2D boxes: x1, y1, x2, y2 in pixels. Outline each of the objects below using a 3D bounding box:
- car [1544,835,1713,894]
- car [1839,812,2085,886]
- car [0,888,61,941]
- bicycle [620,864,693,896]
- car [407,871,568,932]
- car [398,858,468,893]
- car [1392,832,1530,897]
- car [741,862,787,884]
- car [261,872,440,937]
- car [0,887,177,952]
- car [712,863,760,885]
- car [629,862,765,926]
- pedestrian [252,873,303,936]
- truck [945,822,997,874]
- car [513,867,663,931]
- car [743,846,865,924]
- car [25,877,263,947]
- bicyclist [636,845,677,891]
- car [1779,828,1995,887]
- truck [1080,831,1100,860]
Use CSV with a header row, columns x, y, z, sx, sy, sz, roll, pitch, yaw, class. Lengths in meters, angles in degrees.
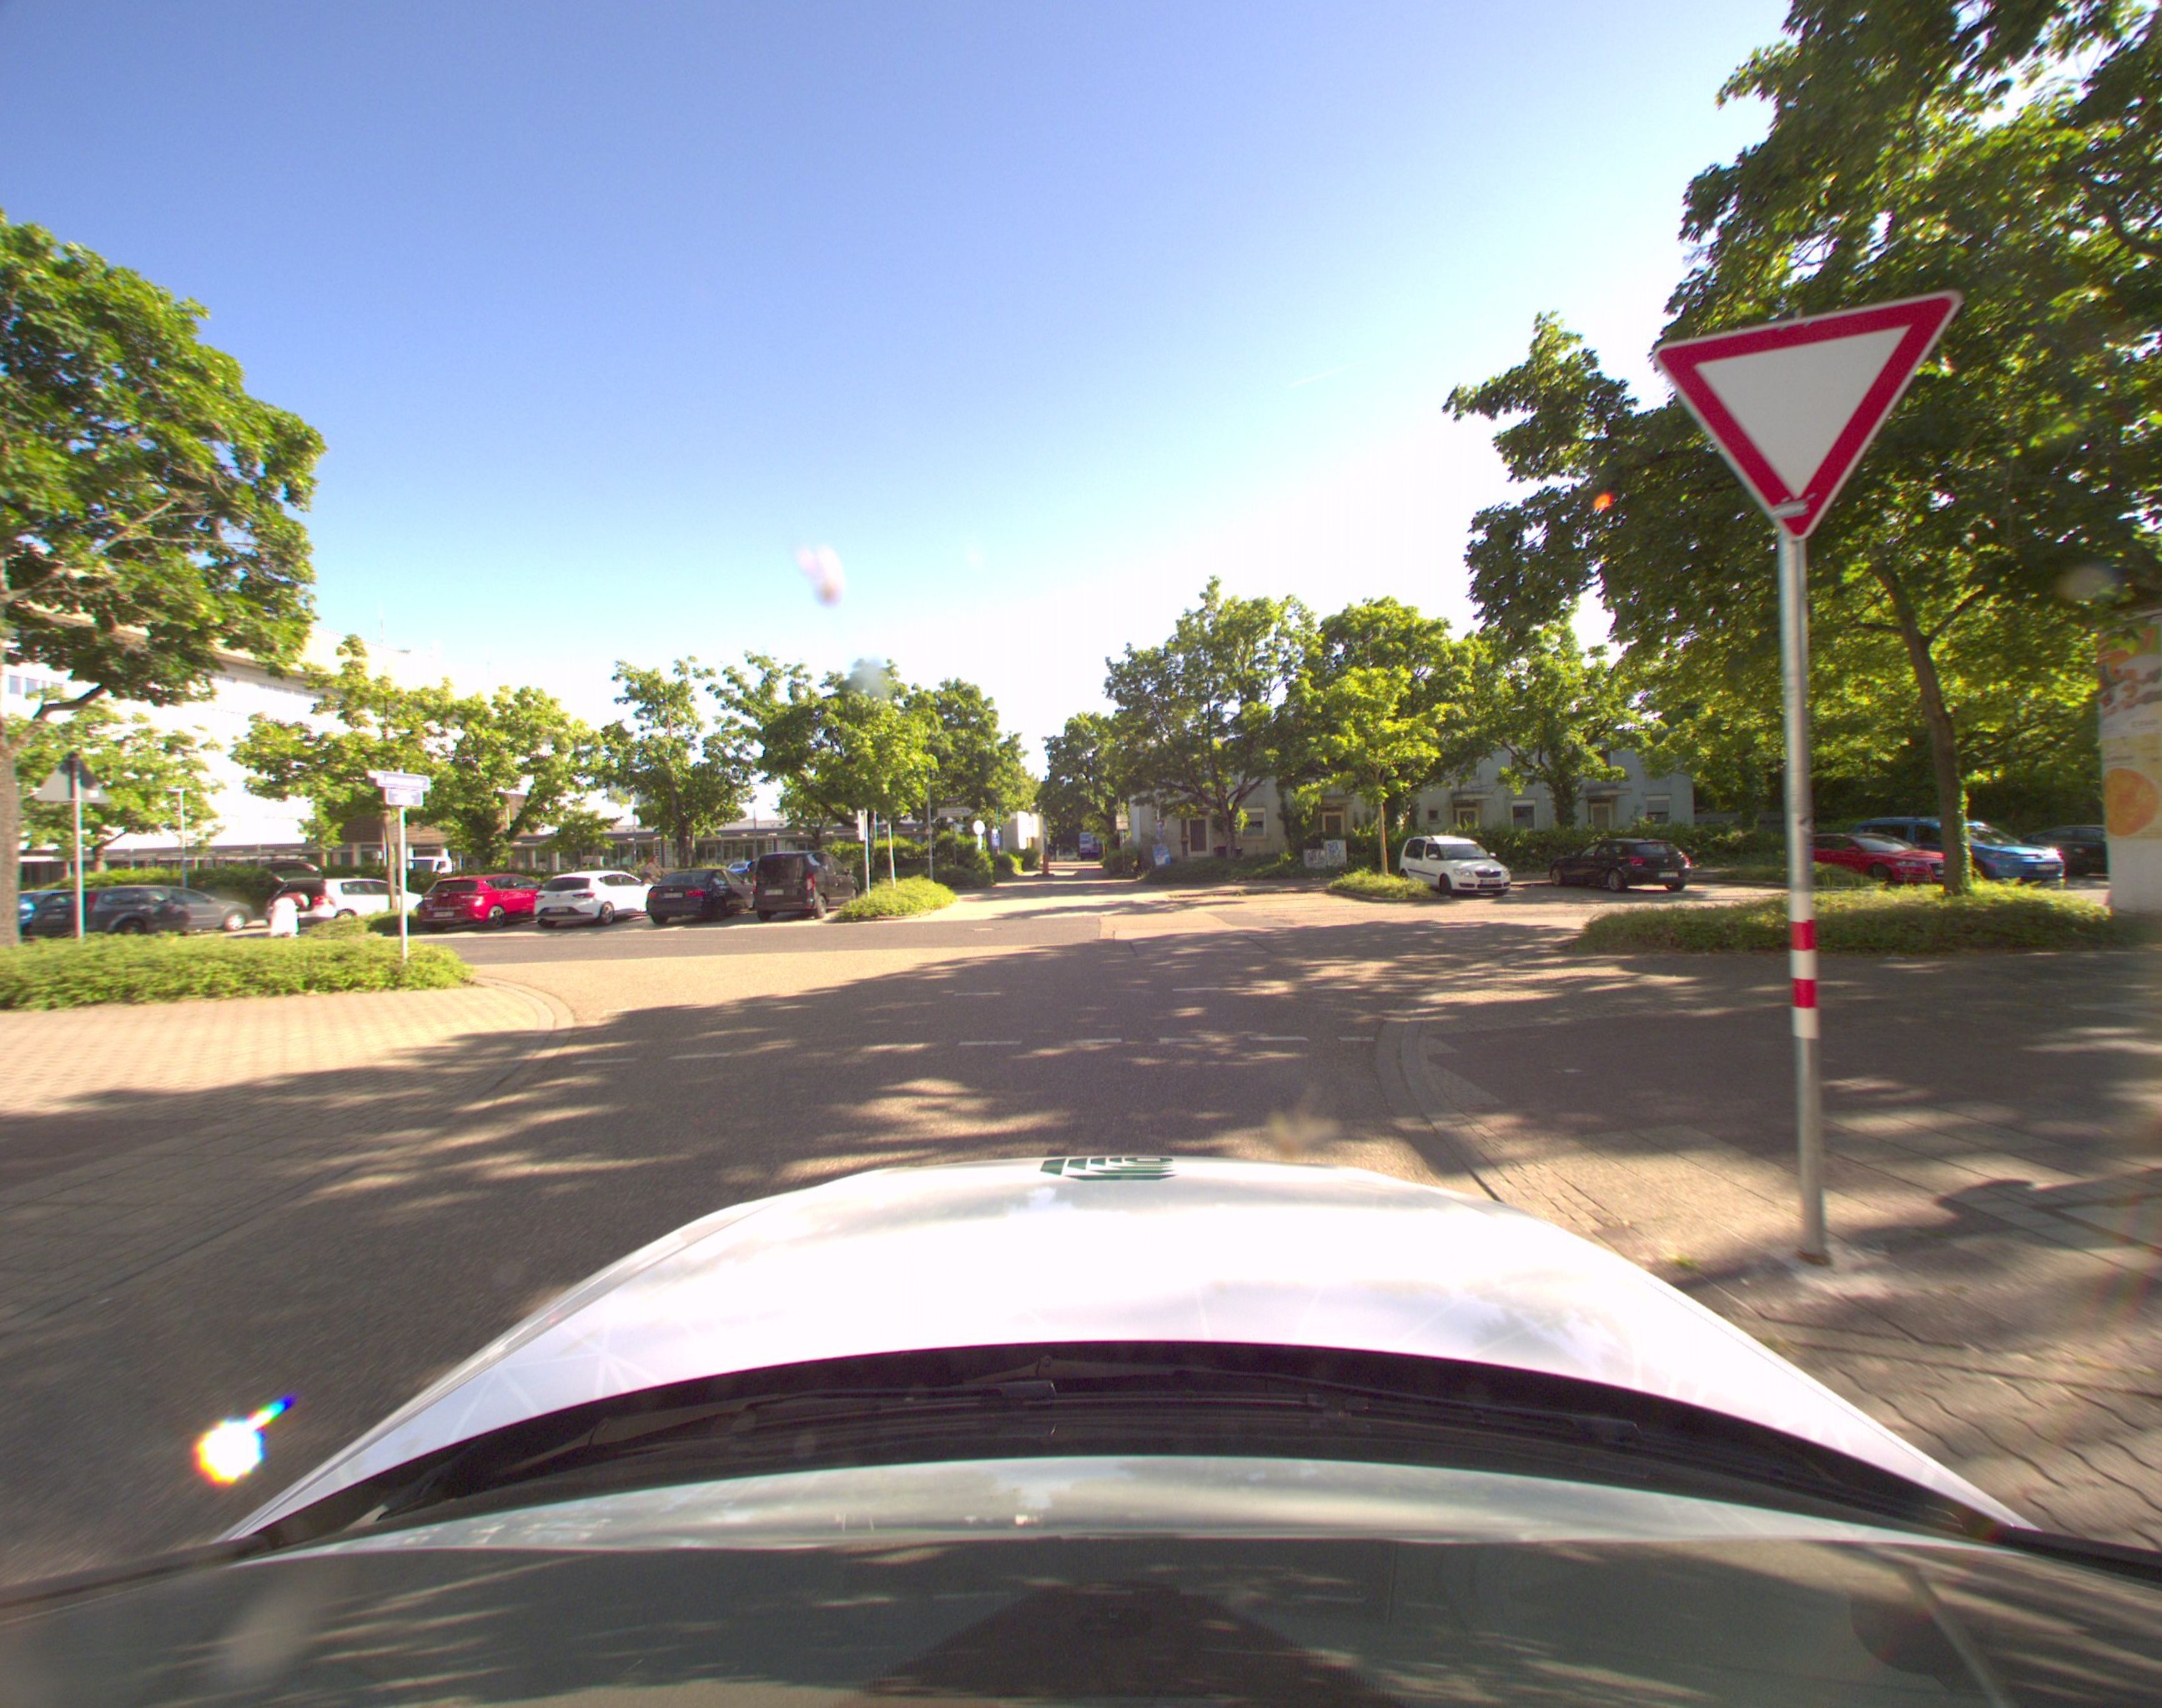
x,y,z,sx,sy,sz,roll,pitch,yaw,class
15.022,0.206,22.657,1.818,1.406,4.167,-2,1,-1,car
24.318,-0.187,22.800,1.818,1.772,4.663,-2,1,-1,car
-32.624,1.855,23.299,1.829,1.497,3.910,-2,1,2,car
-14.184,0.867,27.239,2.076,0.995,0.596,-1,0,-1,bicycle
-16.457,1.248,22.836,1.662,1.426,3.910,-1,0,-1,car
-48.896,1.581,61.535,2.216,2.490,3.648,-2,1,3,car
10.474,0.222,22.802,1.818,1.597,4.167,-2,1,-1,car
-24.238,1.446,62.403,1.829,1.497,3.911,-2,1,3,car
-20.961,1.396,23.601,1.669,1.578,3.910,-1,0,-1,car
-28.295,1.764,22.801,1.611,1.468,3.910,-1,0,-1,car
-26.352,1.480,62.302,1.829,1.497,3.911,-2,1,3,car
-10.610,1.045,22.869,1.818,1.406,4.167,-2,1,-1,car
-20.954,1.306,21.247,0.665,1.579,0.771,-1,0,29,pedestrian
-8.539,-0.493,64.020,2.791,3.806,6.929,-1,0,2,truck
-13.613,1.177,22.796,1.797,1.436,3.911,-2,2,-1,car
-7.625,0.773,22.907,1.867,1.846,4.169,-2,1,1,car
-25.804,1.532,22.697,1.726,1.519,4.198,-2,1,-1,car
-14.193,0.454,27.239,1.008,1.523,0.596,-1,0,-1,bicyclist
22.022,0.029,22.526,1.818,1.406,4.167,-2,1,-1,car
1.319,-1.218,117.607,2.750,3.869,9.332,-1,0,1,truck
